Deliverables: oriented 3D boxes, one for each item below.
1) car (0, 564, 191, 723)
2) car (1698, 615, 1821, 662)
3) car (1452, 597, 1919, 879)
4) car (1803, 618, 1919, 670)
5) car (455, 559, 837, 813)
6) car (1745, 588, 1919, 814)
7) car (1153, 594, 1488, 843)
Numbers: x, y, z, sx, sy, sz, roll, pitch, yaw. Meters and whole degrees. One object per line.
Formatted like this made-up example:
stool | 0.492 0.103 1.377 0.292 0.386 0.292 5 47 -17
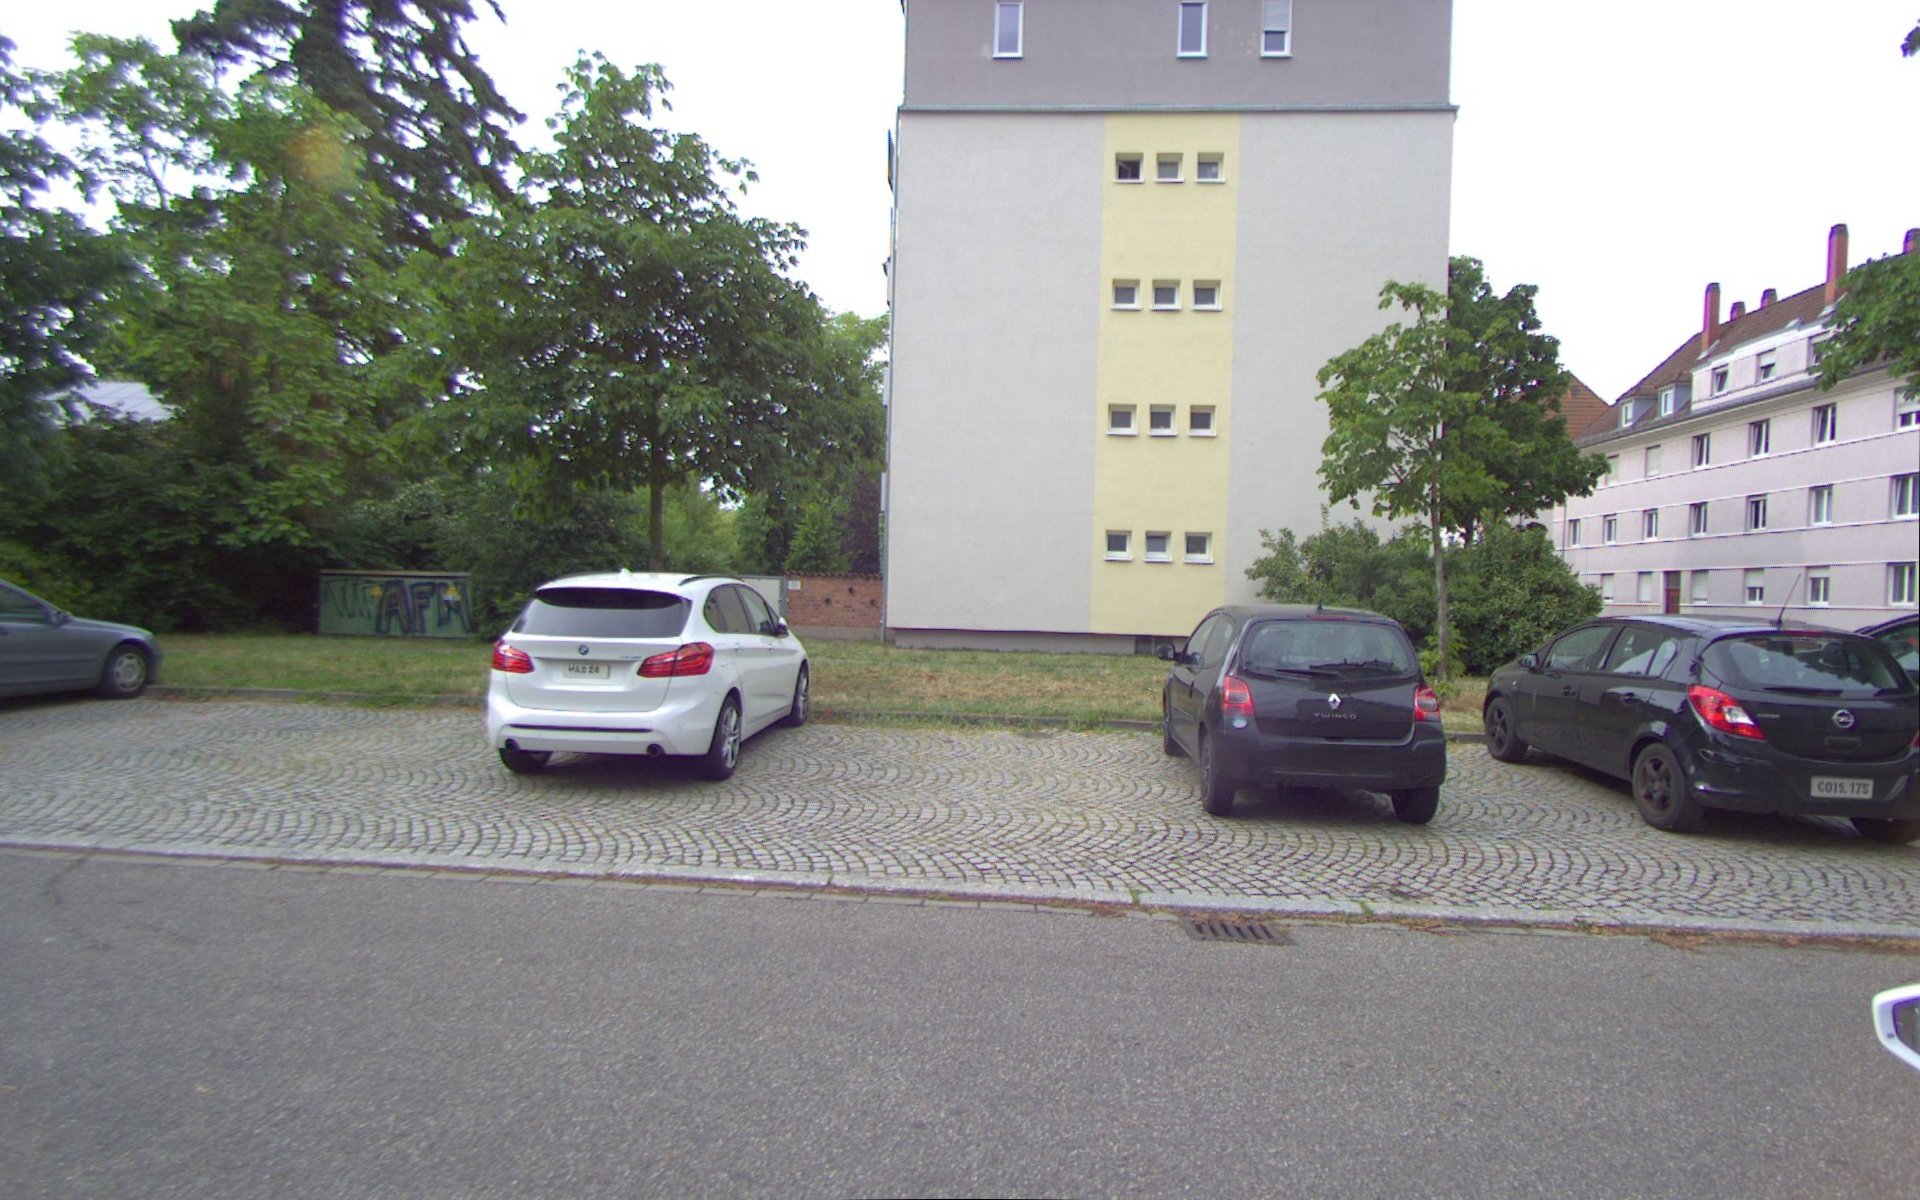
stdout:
car | -9.940 0.405 9.623 1.647 1.474 4.559 2 1 0
car | 29.520 1.369 37.236 1.668 1.546 3.827 1 0 4
car | 5.793 0.836 8.250 1.804 1.587 4.359 2 1 8
car | 29.099 1.366 32.054 1.540 1.493 3.698 1 0 6
car | -2.449 0.511 9.023 1.847 1.582 4.149 3 4 4
car | 8.342 0.821 7.628 1.877 1.720 4.070 2 1 8
car | 2.764 0.747 8.820 1.804 1.483 4.562 2 1 8
